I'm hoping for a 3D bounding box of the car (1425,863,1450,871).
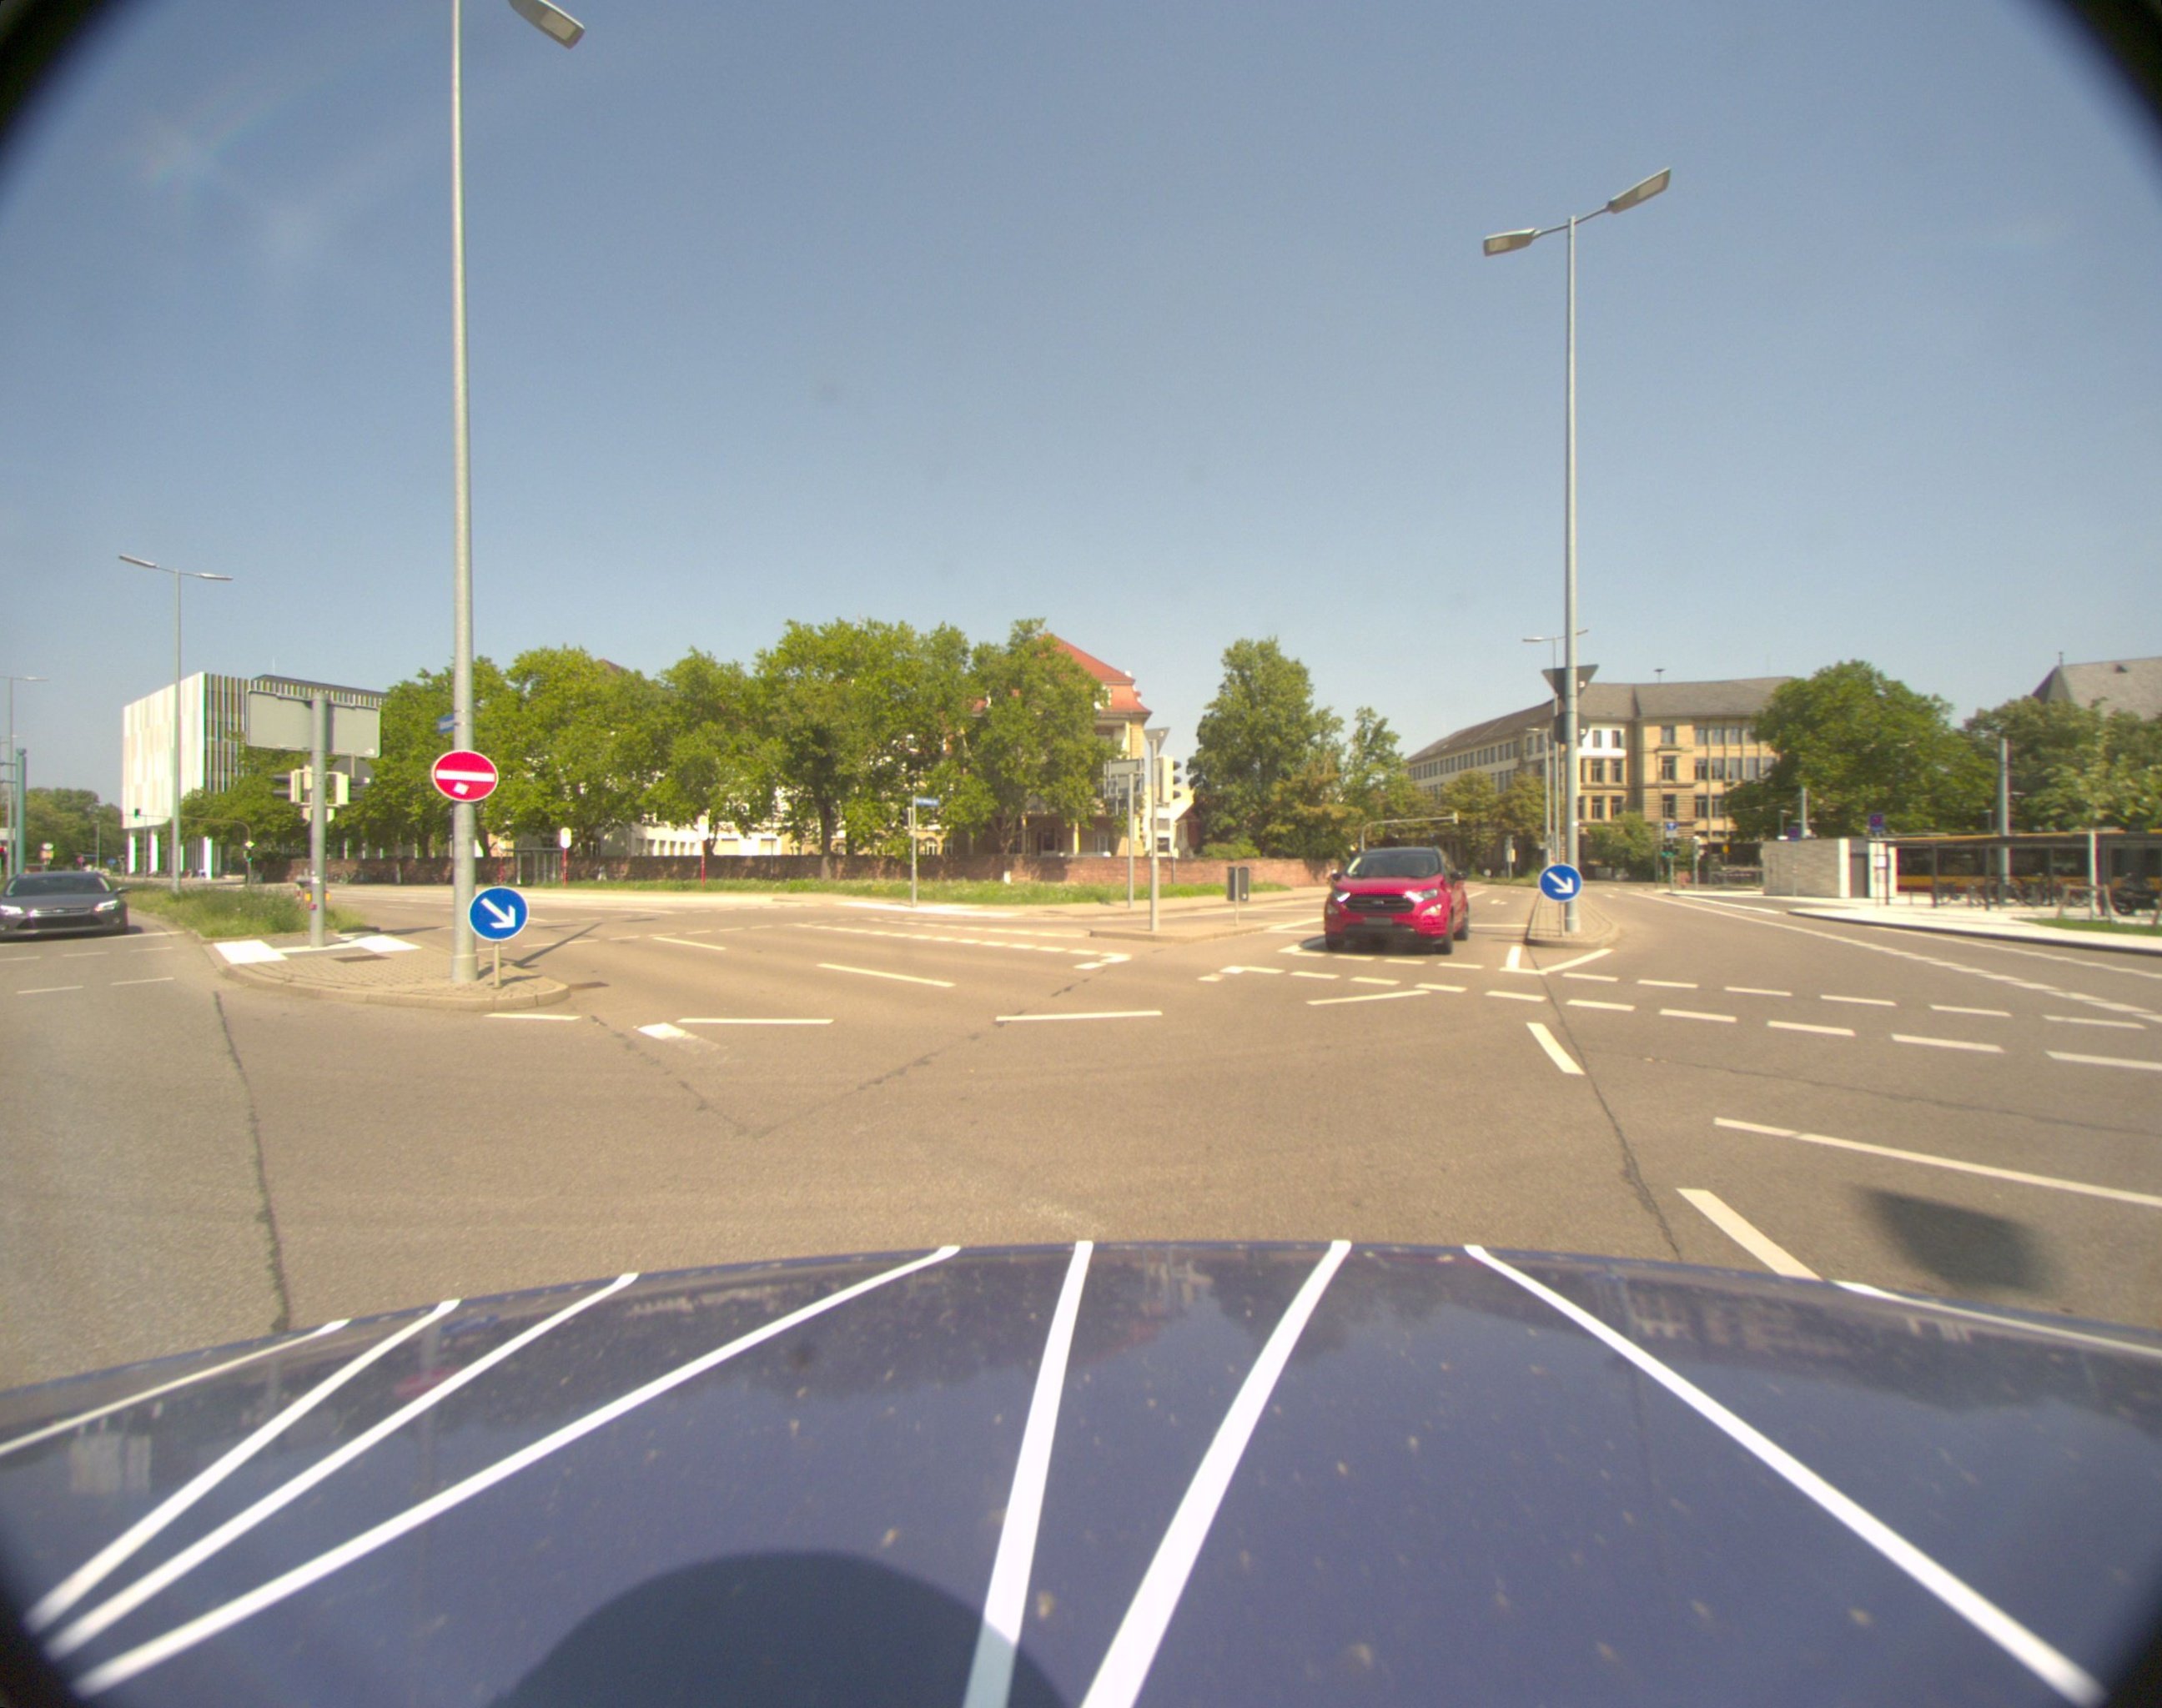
[{"bbox_3d":[51.140,1.864,109.135,3.058,1.169,1.251,0,0,-8],"label":"car"}]

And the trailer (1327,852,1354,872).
[{"bbox_3d":[44.106,1.345,129.224,2.441,3.268,5.086,0,0,-6],"label":"trailer"}]

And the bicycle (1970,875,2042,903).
[{"bbox_3d":[35.032,1.311,28.805,0.526,1.034,1.770,1,-1,-1],"label":"bicycle"}]

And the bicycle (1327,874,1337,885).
[{"bbox_3d":[18.799,1.922,56.919,0.436,0.807,1.489,0,0,29],"label":"bicycle"}]

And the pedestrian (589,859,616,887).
[{"bbox_3d":[-34.772,1.396,55.223,1.232,2.001,1.073,0,0,12],"label":"pedestrian"}]

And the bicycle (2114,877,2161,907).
[{"bbox_3d":[38.024,1.346,26.993,0.412,1.034,1.641,1,-1,-1],"label":"bicycle"}]

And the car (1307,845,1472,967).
[{"bbox_3d":[5.071,0.684,12.164,1.840,1.605,4.008,0,0,31],"label":"car"}]

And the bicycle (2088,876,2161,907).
[{"bbox_3d":[36.695,1.299,26.711,0.412,1.034,1.641,1,-1,-1],"label":"bicycle"}]

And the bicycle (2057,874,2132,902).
[{"bbox_3d":[39.142,1.308,29.379,0.526,1.034,1.770,1,-1,-1],"label":"bicycle"}]

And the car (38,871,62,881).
[{"bbox_3d":[-122.792,2.561,90.521,3.254,1.130,1.594,0,-1,35],"label":"car"}]

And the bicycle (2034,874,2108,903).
[{"bbox_3d":[37.992,1.304,29.194,0.526,1.034,1.770,1,-1,-1],"label":"bicycle"}]

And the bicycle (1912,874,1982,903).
[{"bbox_3d":[33.136,1.307,29.100,0.526,1.075,1.865,1,-1,-1],"label":"bicycle"}]

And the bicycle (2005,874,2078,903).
[{"bbox_3d":[36.659,1.293,29.036,0.526,1.034,1.770,1,-1,-1],"label":"bicycle"}]

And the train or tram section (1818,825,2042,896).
[{"bbox_3d":[47.546,0.440,43.083,3.137,3.538,8.327,1,-1,-4],"label":"train or tram section"}]

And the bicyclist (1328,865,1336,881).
[{"bbox_3d":[18.804,1.432,56.926,0.432,1.225,0.541,0,0,29],"label":"bicyclist"}]

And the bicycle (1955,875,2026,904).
[{"bbox_3d":[34.384,1.316,28.767,0.526,1.034,1.770,1,-1,-1],"label":"bicycle"}]

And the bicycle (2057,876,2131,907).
[{"bbox_3d":[35.655,1.298,26.772,0.412,1.034,1.641,1,-1,-1],"label":"bicycle"}]

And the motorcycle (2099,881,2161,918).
[{"bbox_3d":[32.184,1.378,22.946,0.491,1.062,1.779,1,-1,-1],"label":"motorcycle"}]

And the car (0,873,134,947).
[{"bbox_3d":[-22.409,1.153,16.636,3.414,1.349,1.795,0,1,35],"label":"car"}]

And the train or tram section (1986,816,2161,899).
[{"bbox_3d":[48.109,0.223,34.672,3.160,3.575,8.525,1,-1,-4],"label":"train or tram section"}]
